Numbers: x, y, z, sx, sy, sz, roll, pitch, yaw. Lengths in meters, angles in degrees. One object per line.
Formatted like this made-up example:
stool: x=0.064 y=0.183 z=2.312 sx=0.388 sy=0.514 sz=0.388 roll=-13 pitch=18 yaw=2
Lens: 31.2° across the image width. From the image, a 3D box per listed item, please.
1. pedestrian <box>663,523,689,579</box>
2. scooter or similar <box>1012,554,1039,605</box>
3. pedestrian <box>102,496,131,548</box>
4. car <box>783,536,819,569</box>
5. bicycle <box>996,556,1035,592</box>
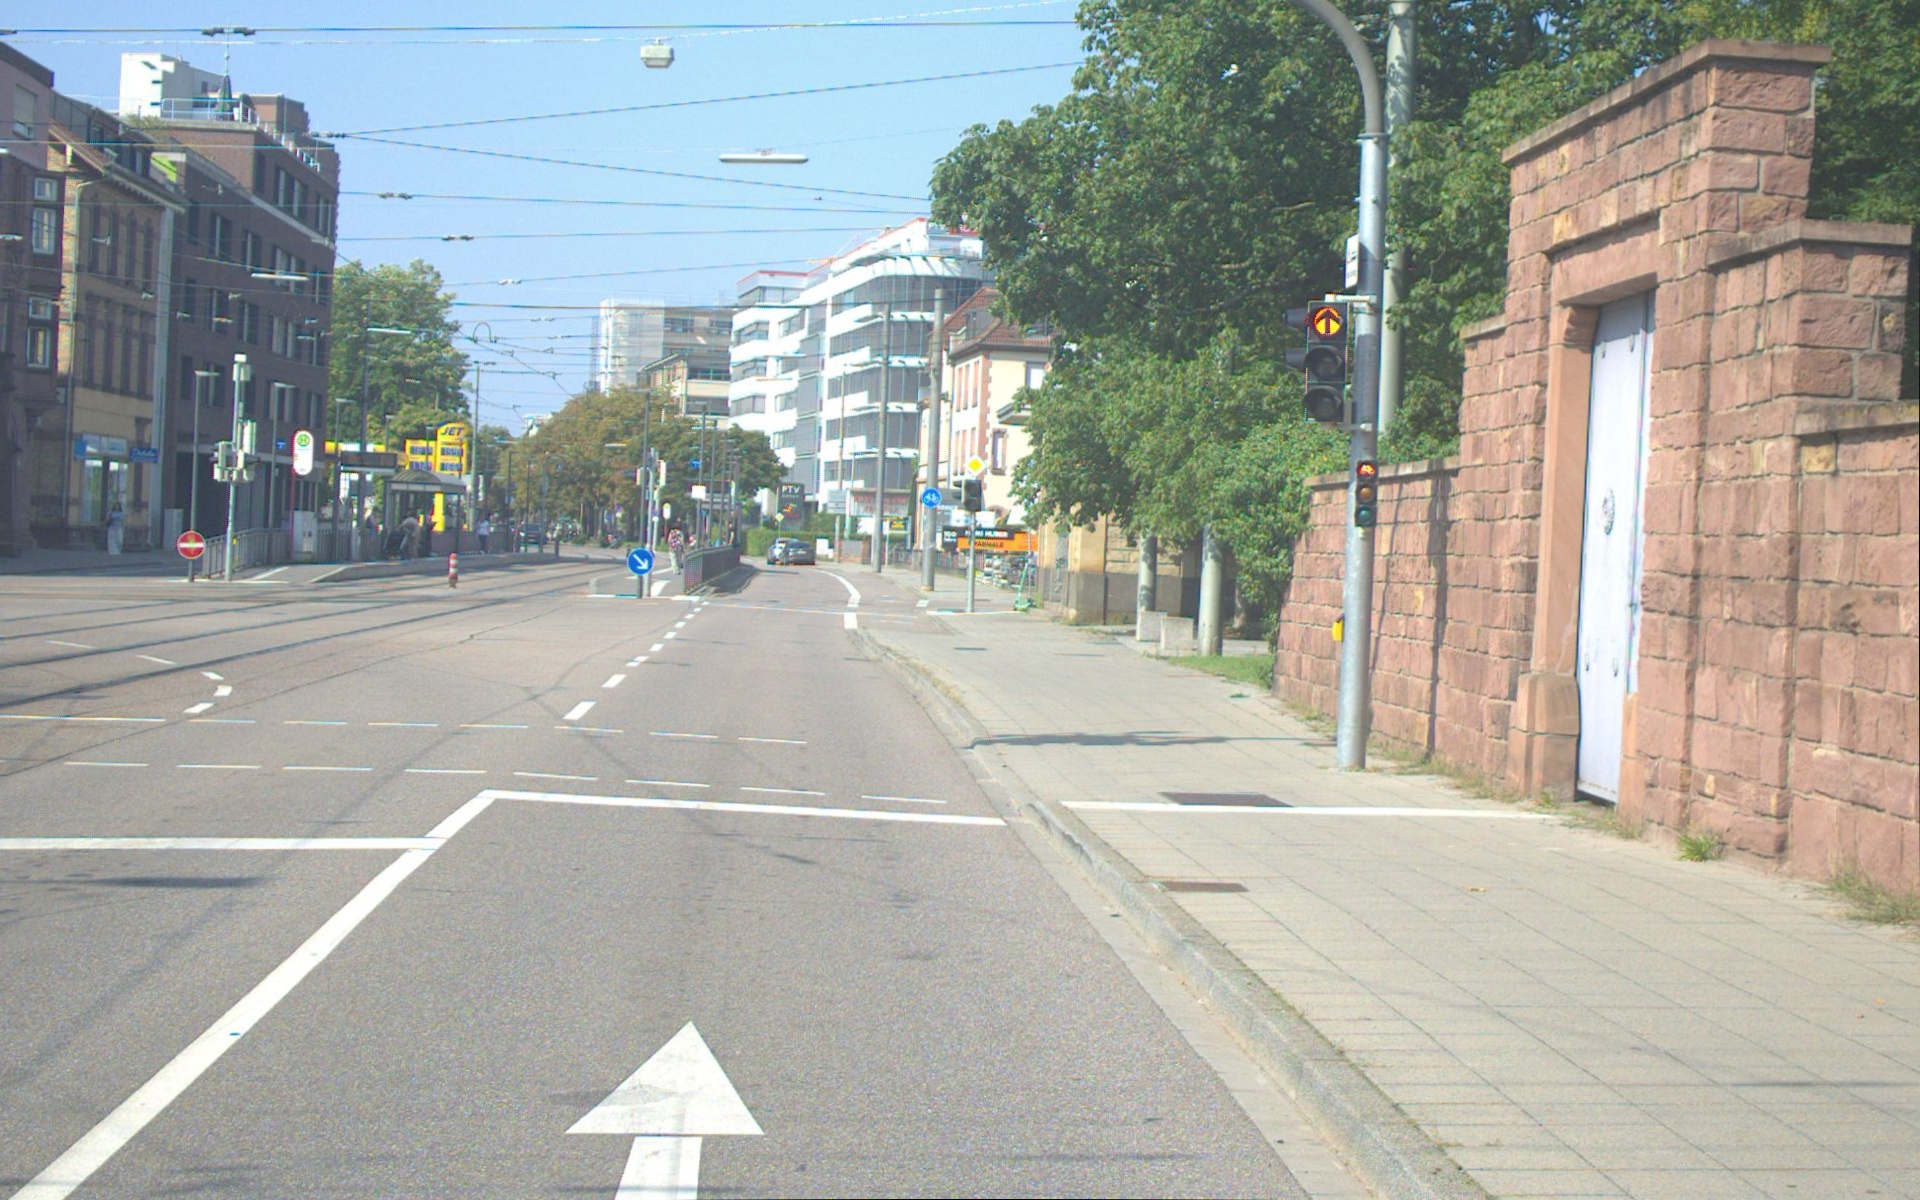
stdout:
pedestrian: x=-8.661 y=-1.492 z=104.739 sx=0.720 sy=1.697 sz=0.884 roll=1 pitch=1 yaw=-2
scooter or similar: x=1.507 y=-0.473 z=78.743 sx=0.523 sy=1.129 sz=1.511 roll=1 pitch=1 yaw=-2
pedestrian: x=-26.504 y=-2.451 z=108.065 sx=0.483 sy=1.554 sz=0.887 roll=4 pitch=0 yaw=9
car: x=-9.242 y=-2.769 z=199.939 sx=2.011 sy=1.852 sz=4.000 roll=1 pitch=1 yaw=-1
bicycle: x=1.791 y=-0.851 z=110.751 sx=0.731 sy=1.129 sz=2.840 roll=-1 pitch=1 yaw=-10
